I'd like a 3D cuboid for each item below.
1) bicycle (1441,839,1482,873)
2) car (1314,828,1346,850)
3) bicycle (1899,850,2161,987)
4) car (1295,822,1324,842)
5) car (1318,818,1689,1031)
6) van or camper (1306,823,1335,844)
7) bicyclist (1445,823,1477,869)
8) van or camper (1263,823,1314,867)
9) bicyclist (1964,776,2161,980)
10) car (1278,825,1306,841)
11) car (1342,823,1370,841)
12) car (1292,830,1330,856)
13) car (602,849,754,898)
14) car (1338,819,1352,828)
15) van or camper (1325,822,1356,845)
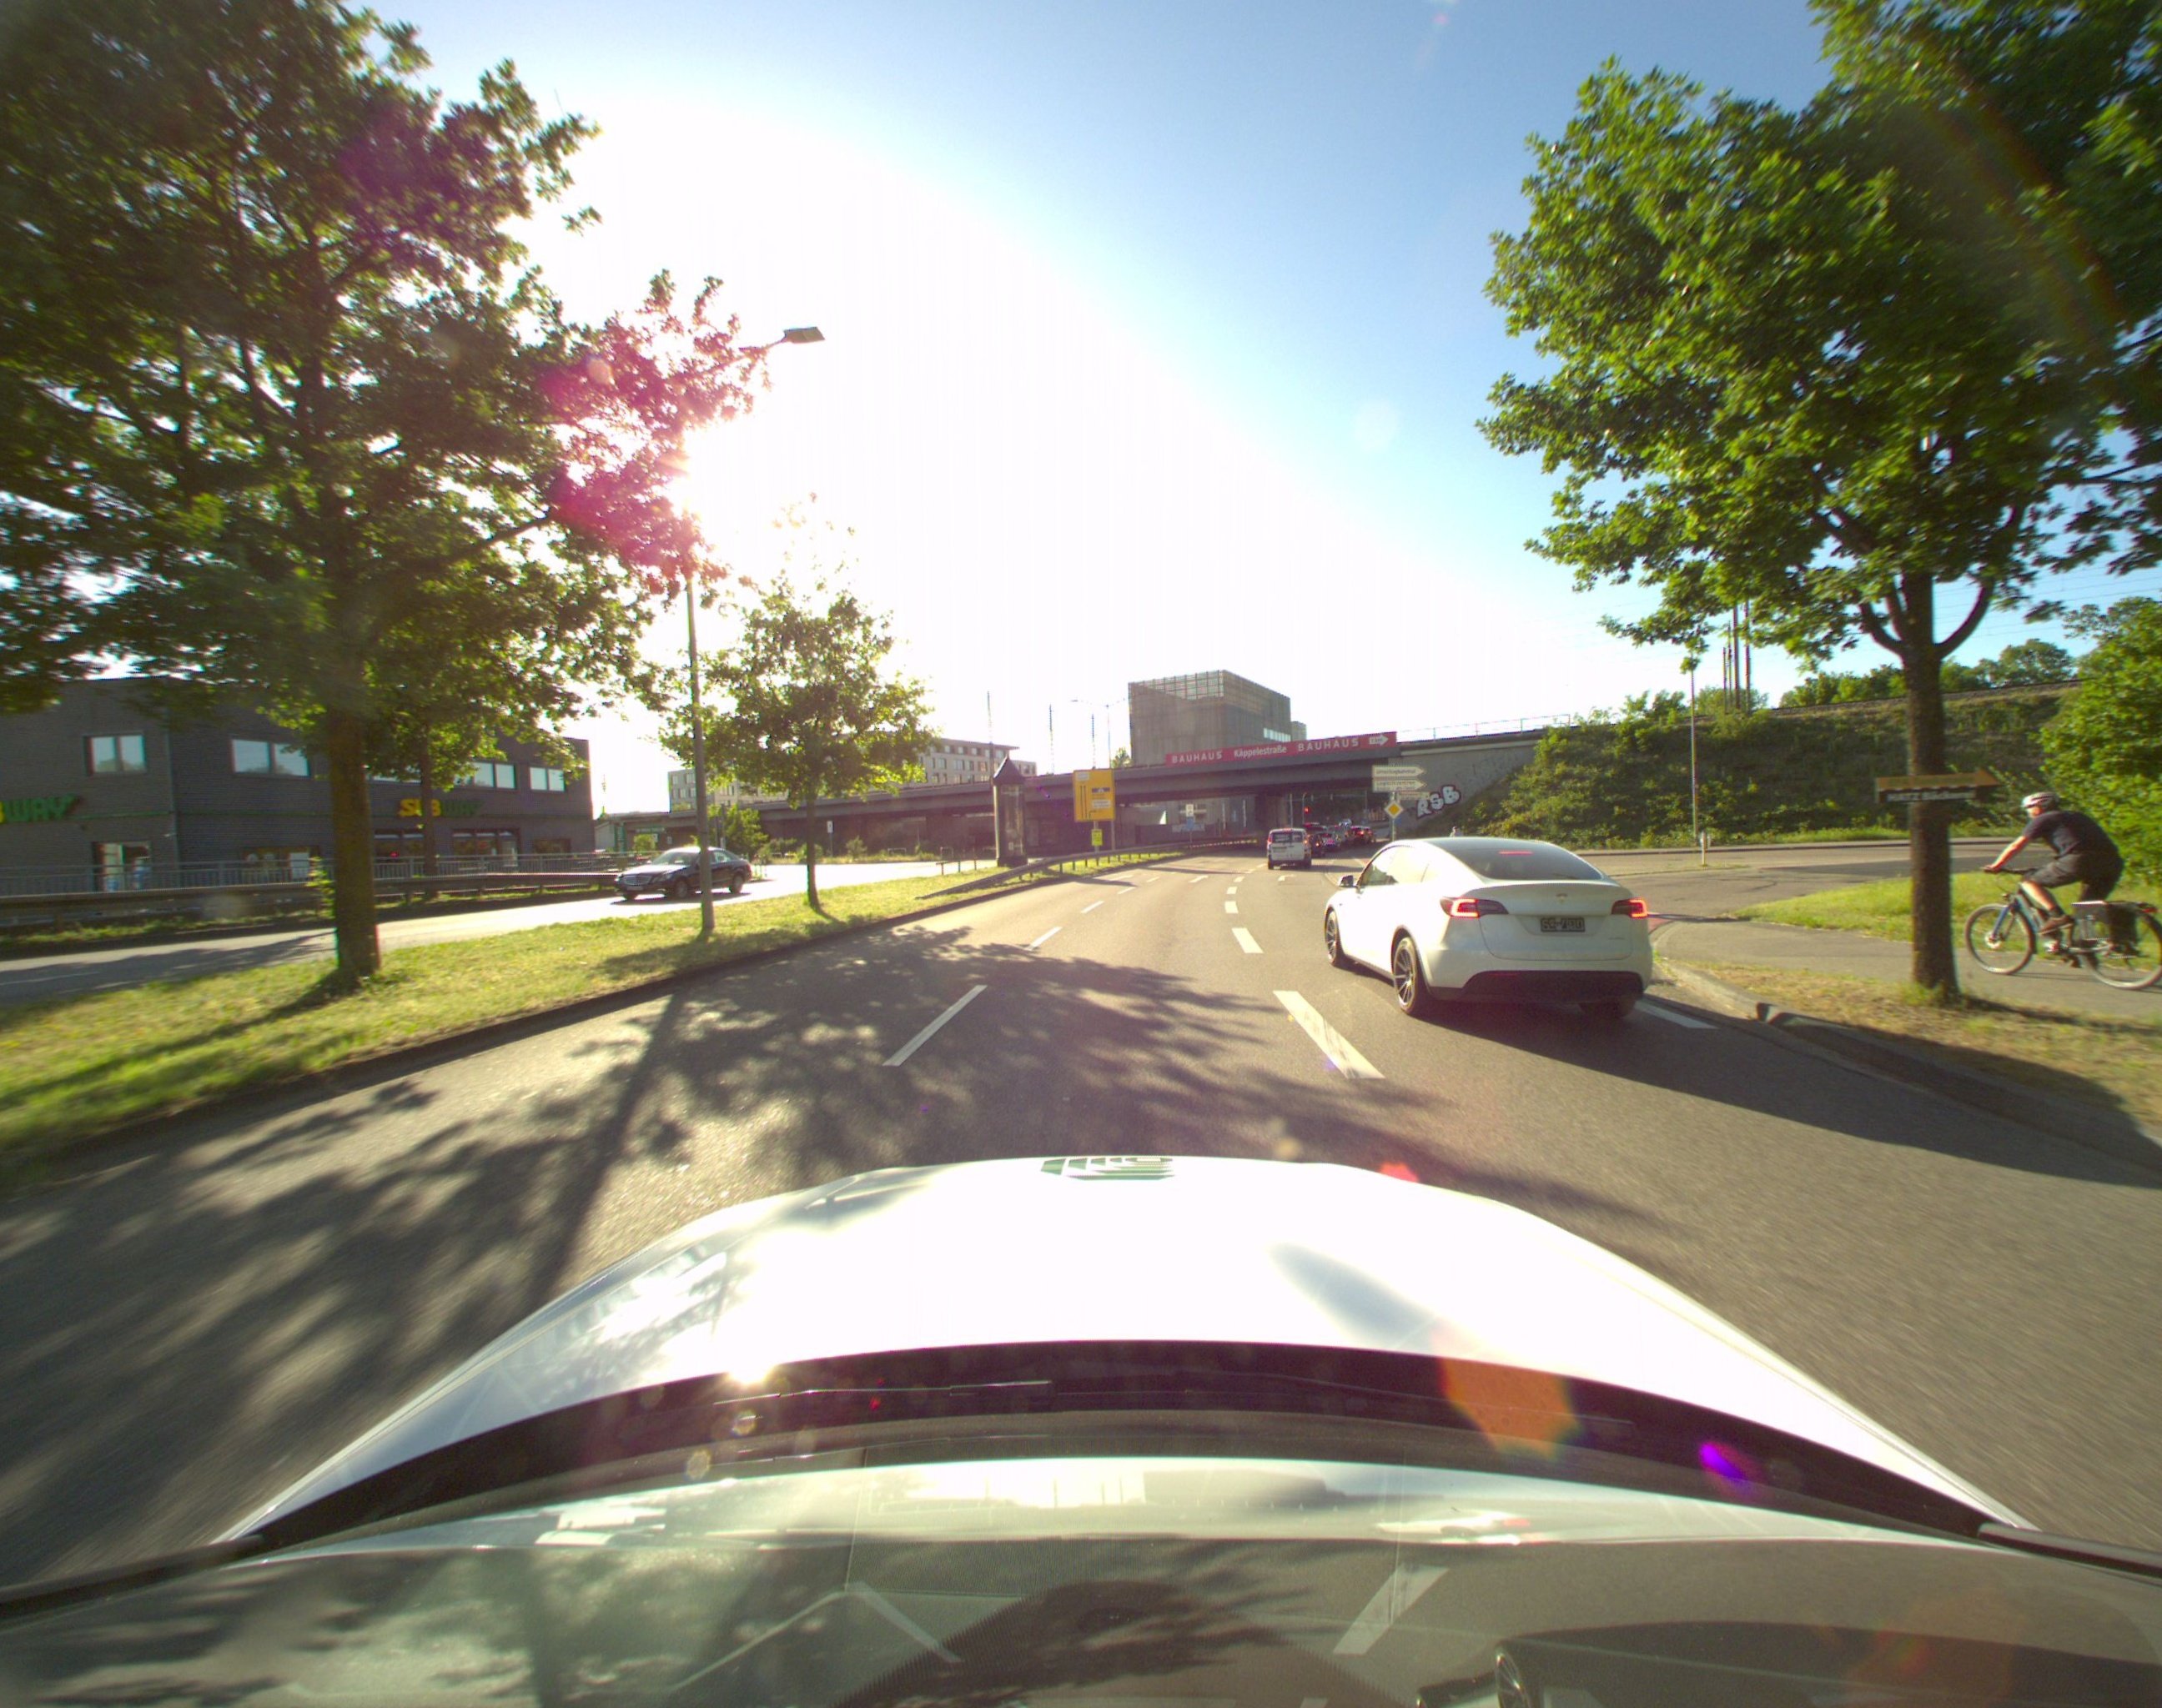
[{"bbox_3d":[13.767,0.056,29.549,0.738,1.112,2.460,-4,0,12],"label":"bicycle"},{"bbox_3d":[17.846,-1.096,58.245,1.748,1.475,4.313,-2,1,23],"label":"car"},{"bbox_3d":[9.337,0.545,7.956,0.691,1.095,2.122,-4,0,7],"label":"bicycle"},{"bbox_3d":[24.240,-2.332,86.244,1.848,1.946,4.625,-1,2,29],"label":"car"},{"bbox_3d":[3.945,0.564,8.592,1.905,1.641,4.415,1,0,4],"label":"car"},{"bbox_3d":[21.748,-1.899,73.962,1.737,1.813,3.983,-1,2,27],"label":"van or camper"},{"bbox_3d":[13.710,-0.293,29.404,0.741,1.619,0.916,-4,0,12],"label":"bicyclist"},{"bbox_3d":[10.015,-0.486,39.026,1.942,1.883,4.904,-2,2,18],"label":"van or camper"},{"bbox_3d":[9.261,0.213,7.726,0.671,1.776,0.950,-4,0,7],"label":"bicyclist"},{"bbox_3d":[20.765,-2.090,80.163,1.692,1.452,3.766,-1,2,29],"label":"car"},{"bbox_3d":[24.717,-1.970,73.026,1.692,1.522,3.766,-1,2,29],"label":"car"},{"bbox_3d":[14.066,-0.715,49.726,1.589,1.434,3.701,0,3,26],"label":"car"},{"bbox_3d":[-12.230,0.528,25.128,1.789,1.310,4.628,-1,1,9],"label":"car"},{"bbox_3d":[49.551,-5.780,152.788,1.766,1.645,4.228,-1,2,30],"label":"car"},{"bbox_3d":[21.480,-1.722,67.289,1.809,1.790,4.572,-1,2,25],"label":"van or camper"}]
